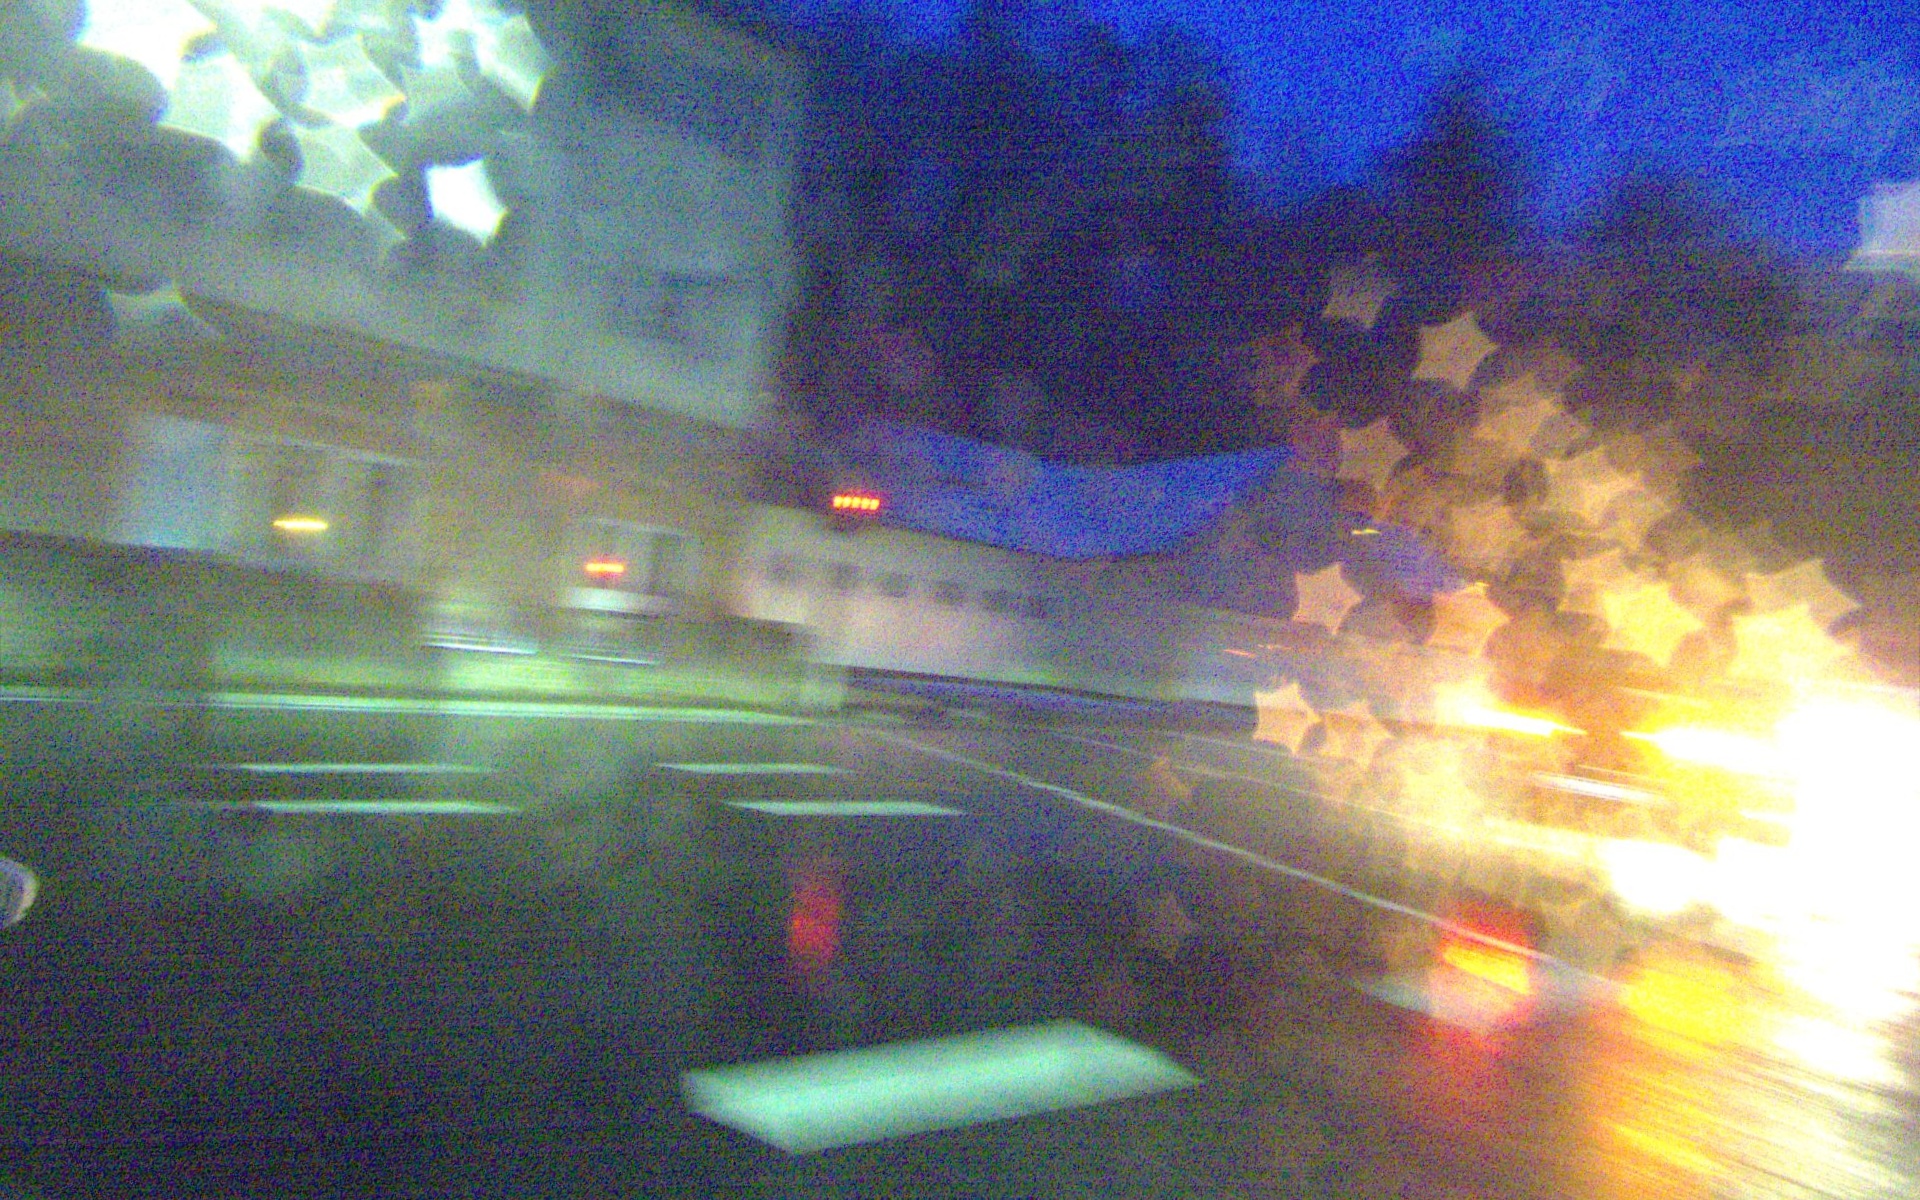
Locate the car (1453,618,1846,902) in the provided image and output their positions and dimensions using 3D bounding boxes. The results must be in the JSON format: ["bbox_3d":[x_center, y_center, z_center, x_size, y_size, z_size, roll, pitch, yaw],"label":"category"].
[{"bbox_3d":[6.223,1.360,8.862,2.037,1.696,4.120,7,-3,45],"label":"car"}]

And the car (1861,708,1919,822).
[{"bbox_3d":[15.572,2.616,15.220,4.201,1.529,1.898,7,0,-35],"label":"car"}]

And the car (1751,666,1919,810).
[{"bbox_3d":[18.719,2.890,20.794,4.814,2.470,2.157,8,-2,-33],"label":"car"}]
